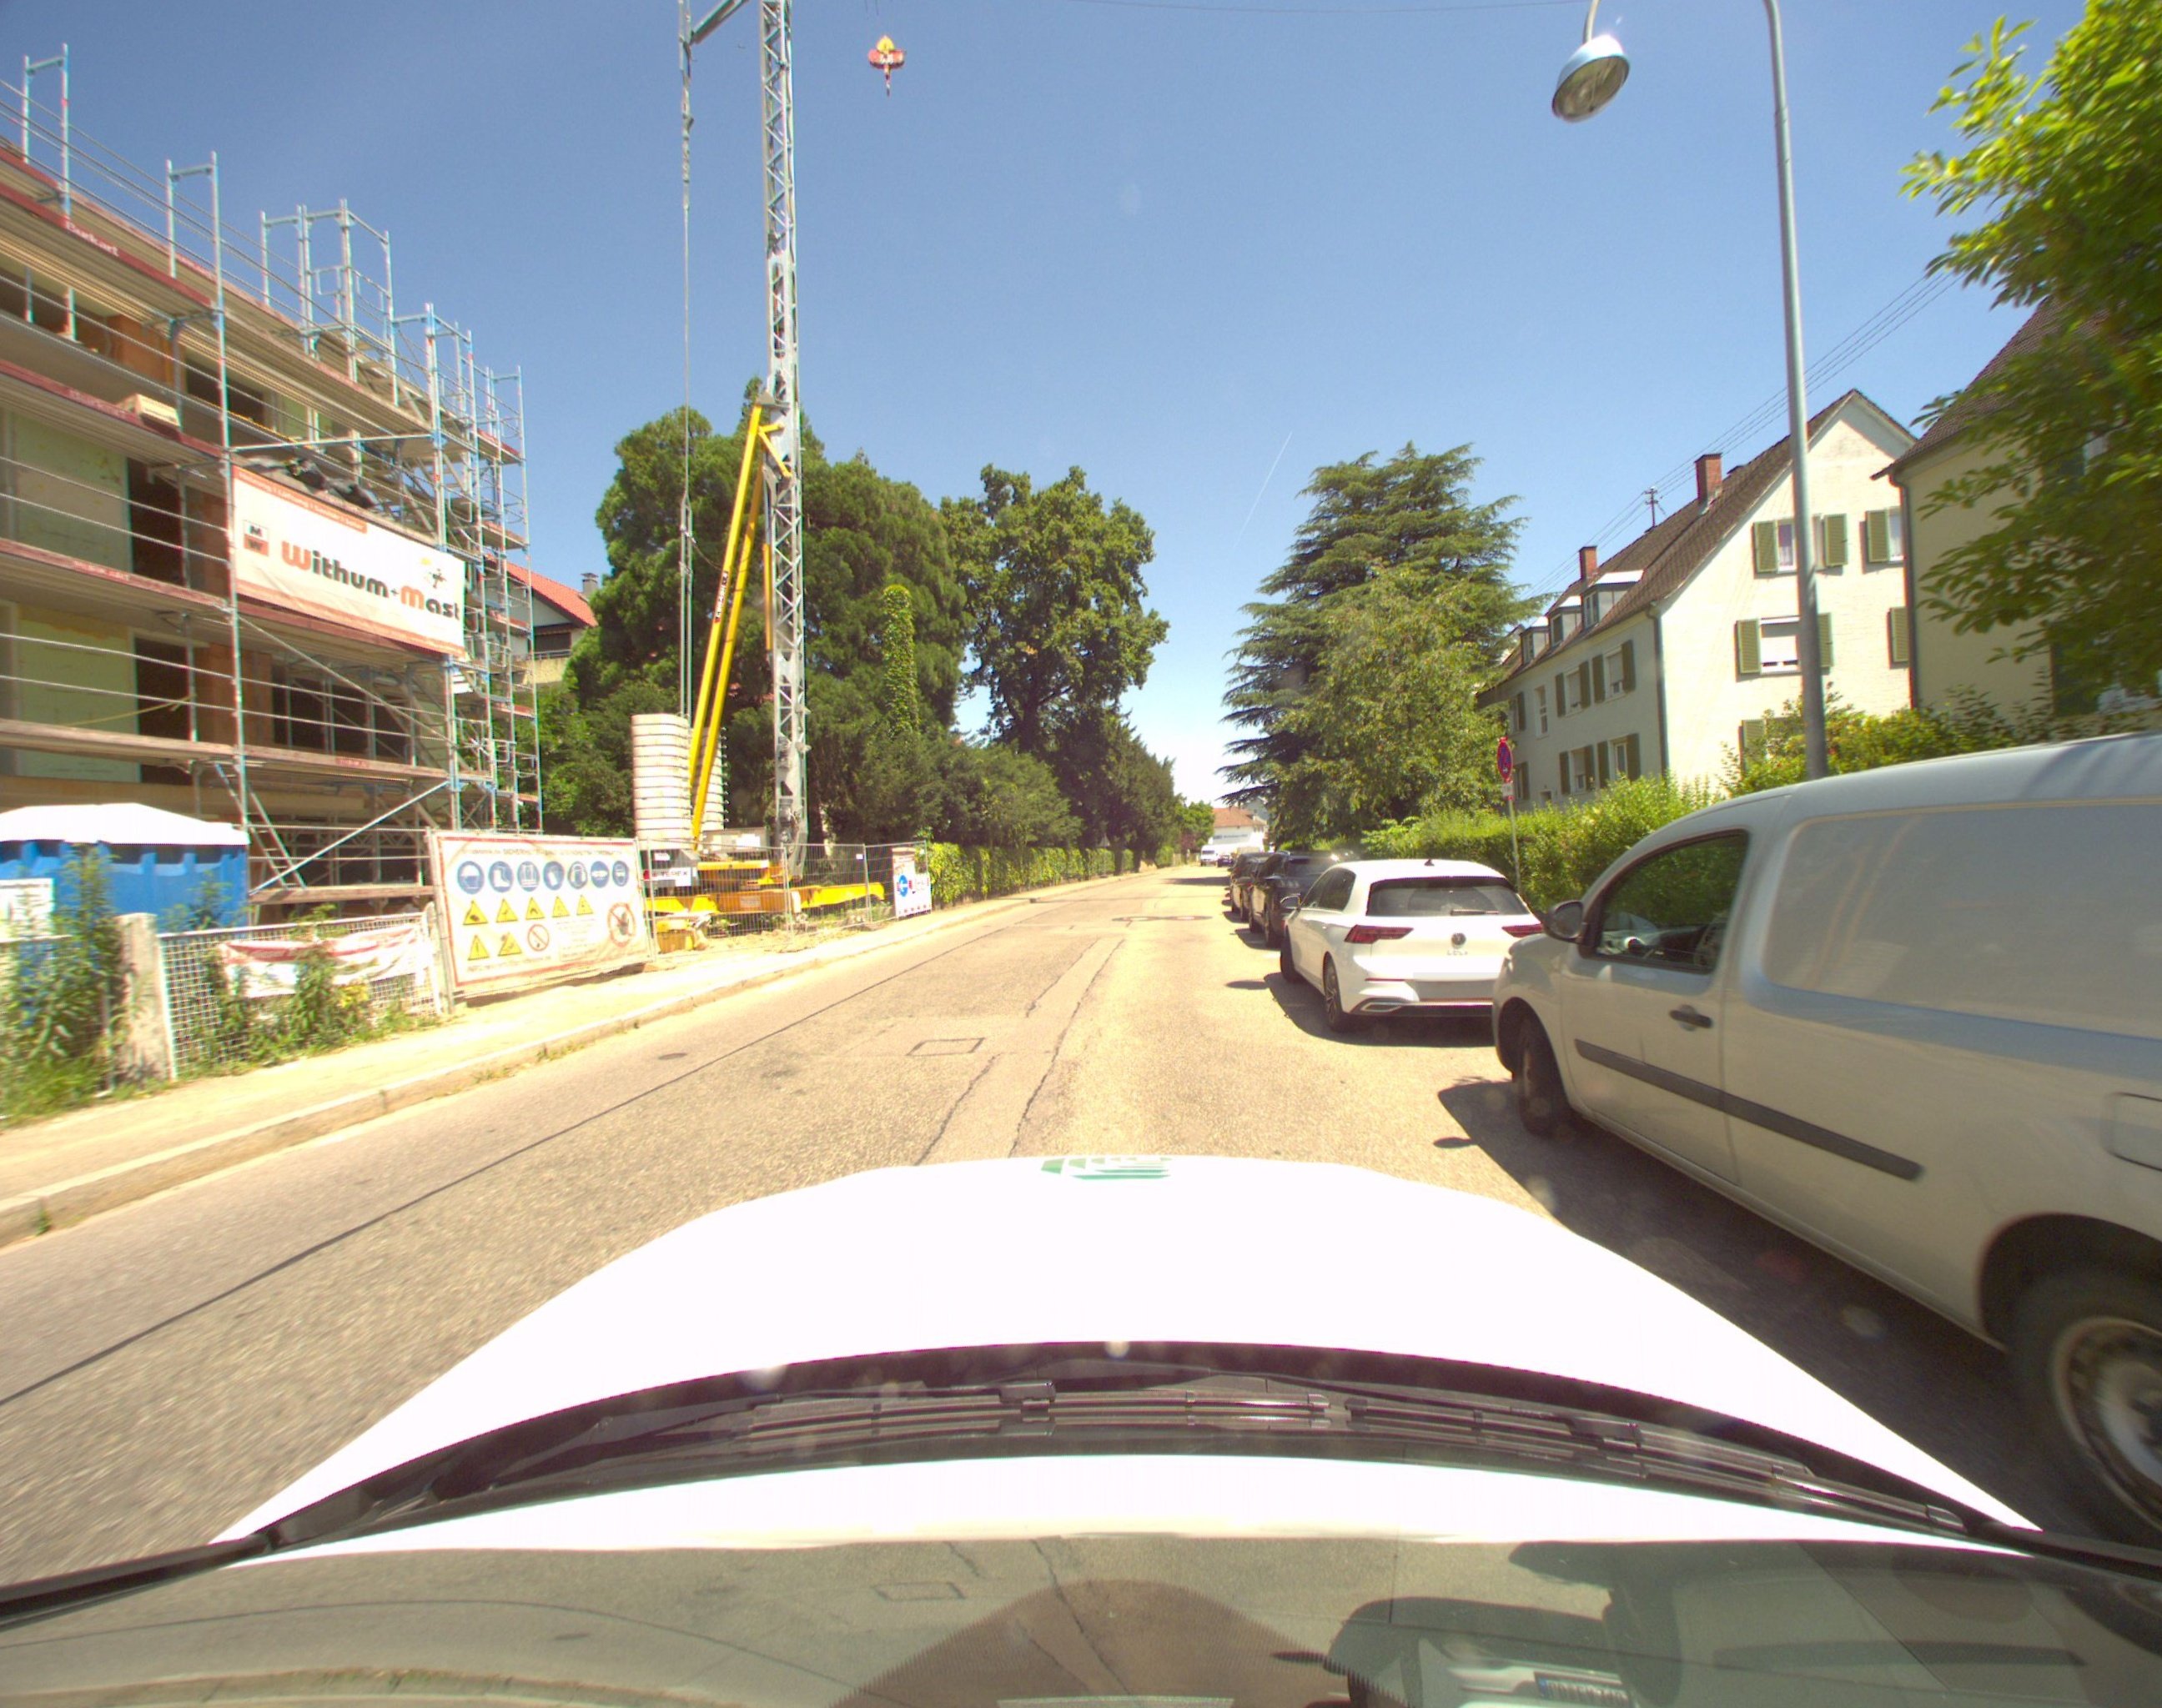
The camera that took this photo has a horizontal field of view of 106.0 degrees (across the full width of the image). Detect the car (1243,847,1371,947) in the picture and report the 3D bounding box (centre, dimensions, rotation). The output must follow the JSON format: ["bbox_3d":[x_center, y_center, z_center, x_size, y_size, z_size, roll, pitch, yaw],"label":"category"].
[{"bbox_3d":[3.887,0.682,14.639,1.652,1.538,4.212,-1,0,8],"label":"car"}]

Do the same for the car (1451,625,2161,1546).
[{"bbox_3d":[3.055,0.465,3.099,1.654,1.803,4.207,0,0,4],"label":"car"}]

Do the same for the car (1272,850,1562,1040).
[{"bbox_3d":[3.046,0.705,8.309,1.653,1.435,4.136,0,0,6],"label":"car"}]

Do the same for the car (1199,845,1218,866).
[{"bbox_3d":[16.450,0.221,104.998,1.980,2.533,5.913,-2,-1,12],"label":"car"}]

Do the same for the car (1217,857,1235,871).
[{"bbox_3d":[16.324,1.095,91.361,1.782,1.510,4.014,0,-1,13],"label":"car"}]

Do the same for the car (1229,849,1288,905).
[{"bbox_3d":[5.541,0.656,25.771,1.572,1.576,4.018,-2,0,9],"label":"car"}]

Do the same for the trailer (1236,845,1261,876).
[{"bbox_3d":[11.783,0.411,57.375,1.669,2.068,3.719,-1,0,11],"label":"trailer"}]

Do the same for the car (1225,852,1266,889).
[{"bbox_3d":[7.123,0.699,35.566,1.605,1.512,4.075,1,0,9],"label":"car"}]

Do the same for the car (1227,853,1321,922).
[{"bbox_3d":[4.584,0.733,19.887,1.653,1.432,4.211,-2,0,6],"label":"car"}]
